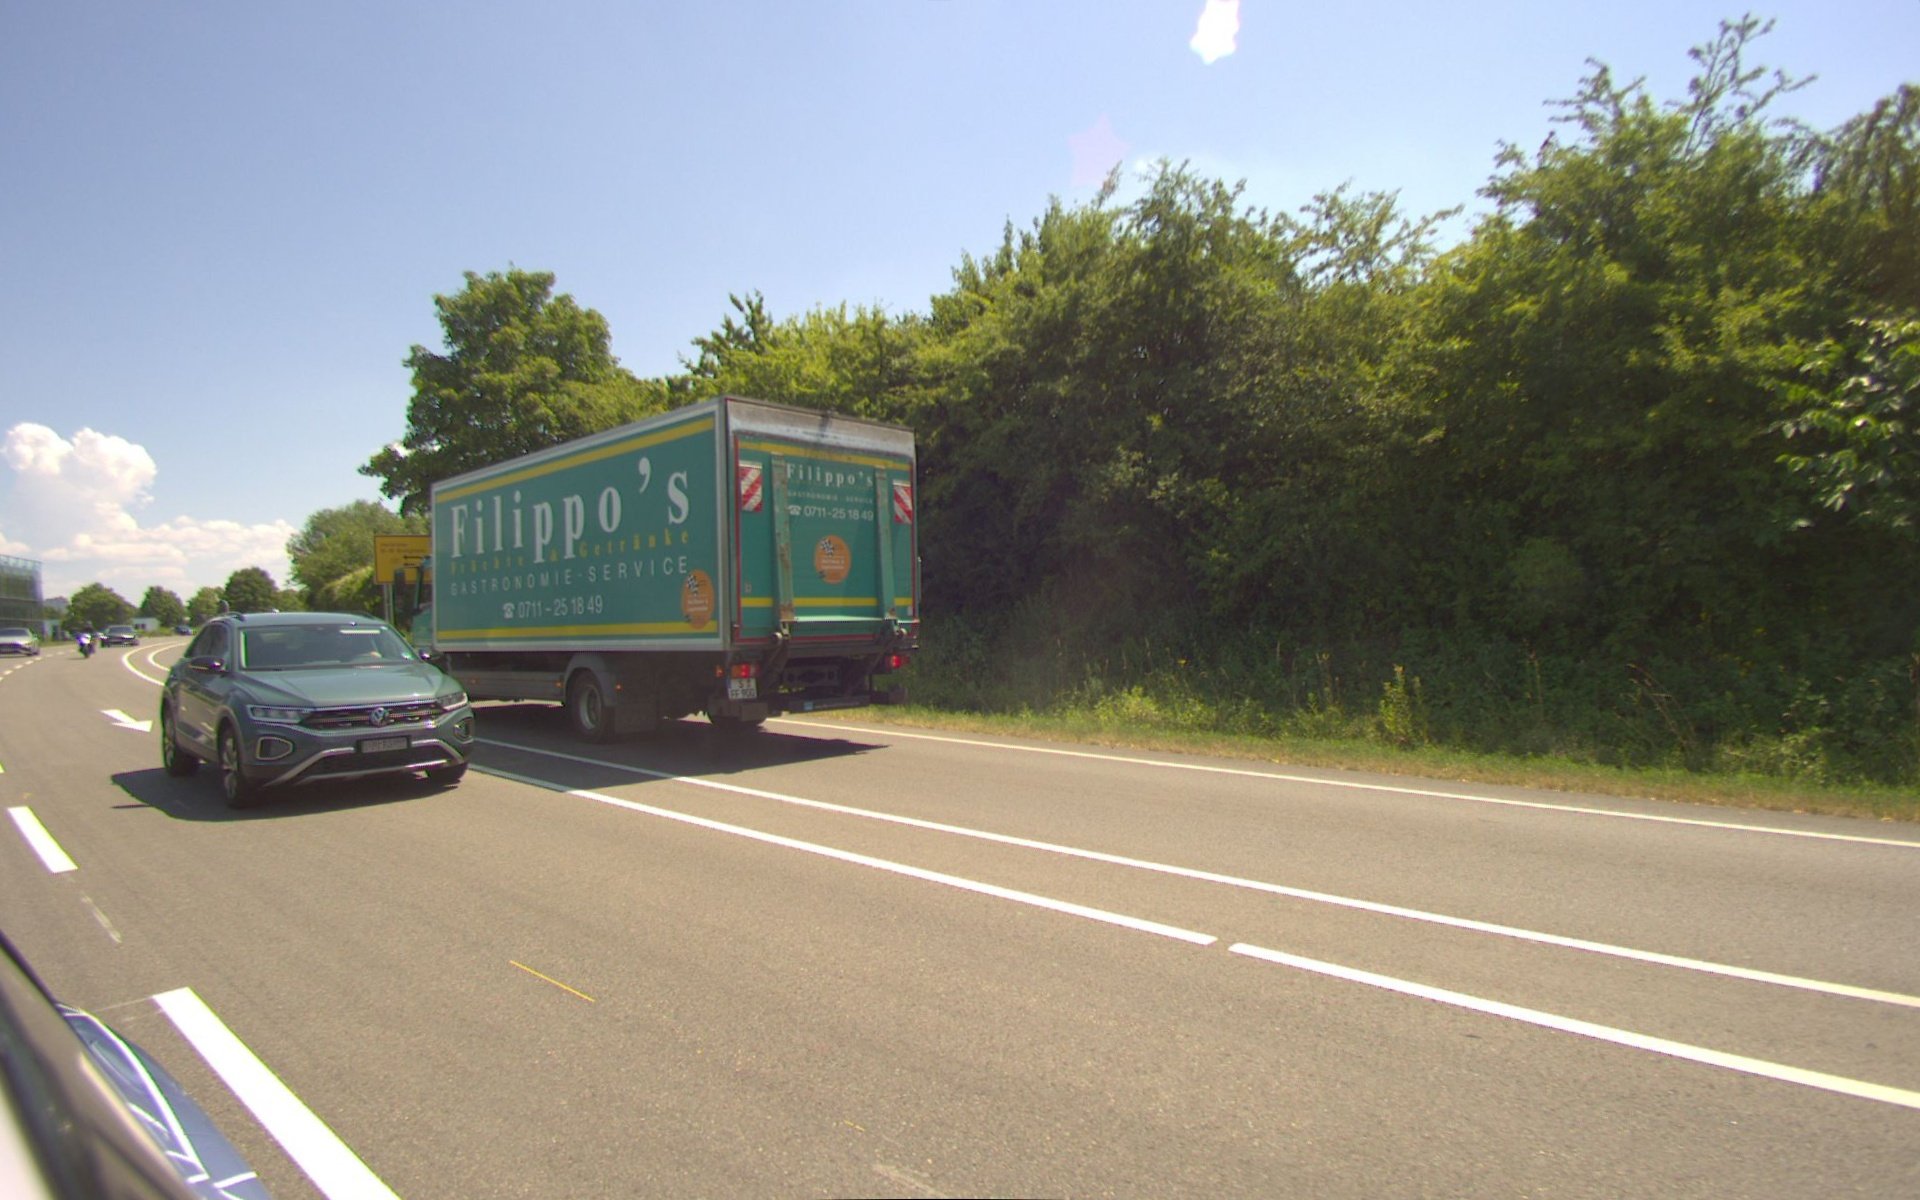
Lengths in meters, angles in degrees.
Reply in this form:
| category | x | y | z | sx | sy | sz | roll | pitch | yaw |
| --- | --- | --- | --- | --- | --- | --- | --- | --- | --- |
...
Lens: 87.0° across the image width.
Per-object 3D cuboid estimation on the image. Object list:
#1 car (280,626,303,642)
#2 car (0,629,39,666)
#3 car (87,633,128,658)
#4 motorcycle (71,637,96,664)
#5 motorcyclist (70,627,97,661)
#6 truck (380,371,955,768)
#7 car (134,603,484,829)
| category | x | y | z | sx | sy | sz | roll | pitch | yaw |
| --- | --- | --- | --- | --- | --- | --- | --- | --- | --- |
| car | -71.375 | 3.660 | 108.035 | 1.966 | 1.641 | 4.208 | 0 | -1 | -32 |
| car | -47.237 | 2.412 | 50.308 | 1.905 | 1.598 | 4.185 | -4 | -1 | -40 |
| car | -58.542 | 3.112 | 69.568 | 2.085 | 1.603 | 4.458 | -1 | -1 | -40 |
| motorcycle | -39.411 | 2.264 | 45.492 | 0.724 | 1.147 | 2.074 | 1 | -3 | -45 |
| motorcyclist | -39.389 | 1.957 | 45.485 | 0.848 | 1.500 | 1.162 | 1 | -3 | -45 |
| truck | -4.500 | -0.156 | 13.416 | 9.429 | 3.601 | 2.838 | -2 | -2 | 43 |
| car | -6.187 | 0.890 | 9.384 | 4.393 | 1.598 | 1.814 | -2 | -2 | 45 |
